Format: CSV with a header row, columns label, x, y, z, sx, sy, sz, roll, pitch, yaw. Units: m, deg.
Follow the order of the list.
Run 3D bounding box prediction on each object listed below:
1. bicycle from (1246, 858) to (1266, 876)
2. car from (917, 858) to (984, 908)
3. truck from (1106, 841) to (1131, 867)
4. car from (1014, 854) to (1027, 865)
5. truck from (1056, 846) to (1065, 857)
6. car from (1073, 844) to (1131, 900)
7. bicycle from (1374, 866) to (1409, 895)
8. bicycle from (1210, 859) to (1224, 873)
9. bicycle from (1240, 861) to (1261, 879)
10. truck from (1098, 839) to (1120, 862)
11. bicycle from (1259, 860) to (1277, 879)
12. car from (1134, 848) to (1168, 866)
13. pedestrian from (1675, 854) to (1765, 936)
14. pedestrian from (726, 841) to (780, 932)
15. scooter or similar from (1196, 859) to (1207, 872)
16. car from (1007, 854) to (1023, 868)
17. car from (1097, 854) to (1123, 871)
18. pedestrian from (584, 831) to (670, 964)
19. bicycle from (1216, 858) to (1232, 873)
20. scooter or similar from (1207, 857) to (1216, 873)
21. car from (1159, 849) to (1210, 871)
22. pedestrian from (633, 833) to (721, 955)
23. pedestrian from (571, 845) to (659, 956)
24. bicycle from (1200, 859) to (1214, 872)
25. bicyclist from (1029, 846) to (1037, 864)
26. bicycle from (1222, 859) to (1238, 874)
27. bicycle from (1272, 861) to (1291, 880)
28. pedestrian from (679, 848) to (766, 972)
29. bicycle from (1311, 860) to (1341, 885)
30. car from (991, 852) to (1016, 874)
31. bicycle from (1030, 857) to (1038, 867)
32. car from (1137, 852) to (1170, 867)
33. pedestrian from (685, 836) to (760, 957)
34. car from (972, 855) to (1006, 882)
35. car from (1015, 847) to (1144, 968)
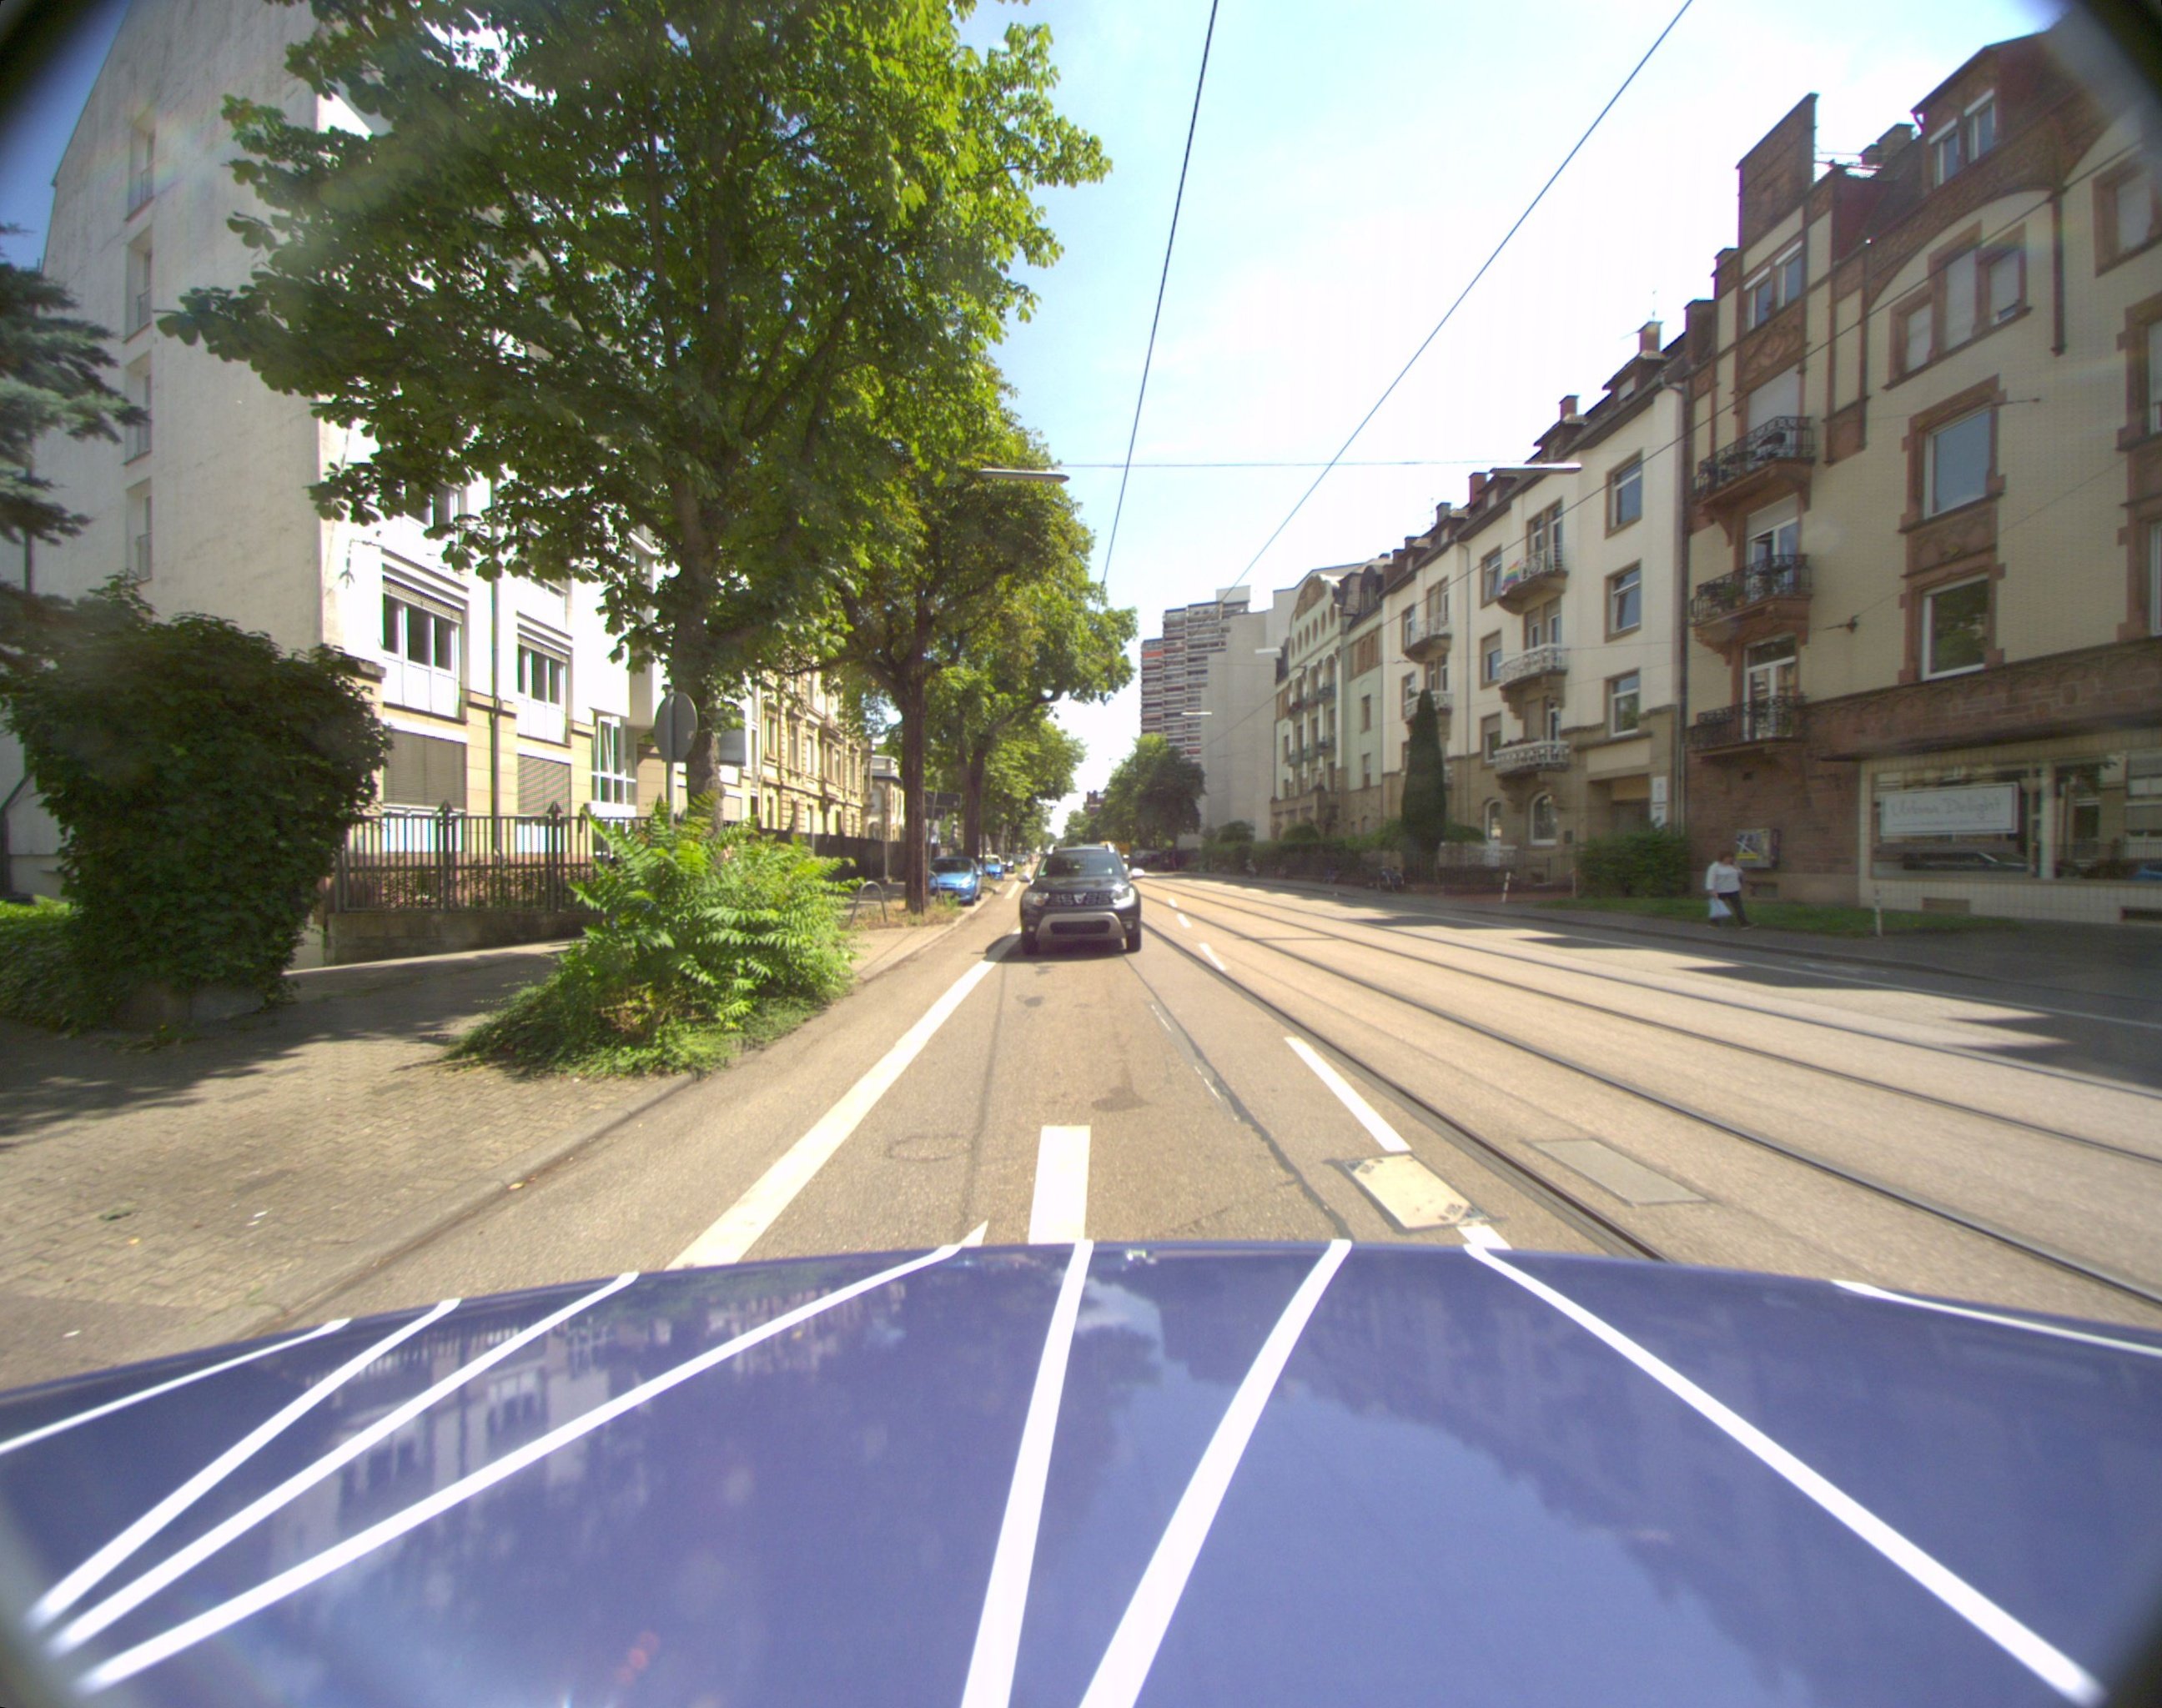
label,x,y,z,sx,sy,sz,roll,pitch,yaw
bicycle,10.618,0.801,46.103,0.609,1.026,1.771,-4,0,-3
car,-4.026,0.845,23.936,1.682,1.435,3.719,0,0,-4
truck,4.332,-0.027,88.804,2.307,2.903,6.514,0,0,-2
car,-8.127,0.768,102.735,1.626,1.395,3.999,2,0,-3
truck,-6.928,-0.852,254.059,2.792,3.598,8.255,0,0,0
car,0.670,0.595,27.343,1.753,1.806,4.307,-2,0,-2
bicycle,11.497,0.982,28.188,0.411,0.955,1.840,-3,1,-3
bicycle,9.927,0.878,55.474,0.609,0.983,1.707,-4,0,-3
bicycle,9.765,0.893,43.828,0.608,0.993,1.778,0,0,33
truck,5.383,-0.687,143.153,2.673,4.155,10.481,0,0,10
bicycle,10.508,0.860,42.776,0.465,0.993,1.707,-3,0,-3
car,8.117,0.335,87.916,4.061,2.030,1.597,0,0,-43
pedestrian,12.383,0.776,14.753,0.903,1.533,0.984,0,0,-6
pedestrian,-6.680,0.638,15.527,0.686,1.787,1.083,0,0,-3
scooter or similar,9.593,0.894,60.525,0.407,1.014,1.222,0,0,-19
car,-7.211,0.729,83.295,1.626,1.395,3.822,2,0,-3
car,2.469,0.742,65.613,1.828,1.405,4.427,0,0,-3
pedestrian,-6.412,0.592,10.781,0.662,1.801,0.976,0,1,-3
bicycle,10.057,0.780,53.429,0.609,0.983,1.707,-4,0,-3
scooter or similar,9.802,0.820,57.068,0.407,1.113,1.290,0,0,-1
car,9.310,0.556,68.318,4.596,1.914,1.956,0,0,-40
pedestrian,-6.015,0.571,11.368,0.790,1.751,1.052,0,0,-3
pedestrian,-7.099,0.682,11.612,0.859,1.636,0.836,0,1,-5
bicycle,9.772,0.885,58.884,0.609,0.983,1.707,-4,0,-3
bicyclist,-5.402,0.151,85.499,0.773,2.002,0.807,0,1,-5
bicycle,10.117,0.816,51.592,0.609,0.970,1.771,-4,0,-3
bicycle,10.779,0.858,40.946,0.414,0.960,1.725,-3,0,-3
pedestrian,-4.963,0.745,10.576,0.768,1.641,0.974,0,0,-2
bicycle,11.079,0.803,34.394,0.609,1.058,1.771,-4,0,-3
car,-6.210,0.705,61.119,1.734,1.606,4.083,2,0,-3
bicycle,-5.316,0.893,85.416,0.812,1.089,2.173,0,0,-5
car,8.076,0.605,84.437,1.677,1.566,3.692,2,1,44
pedestrian,-5.457,0.627,11.617,0.706,1.766,0.947,0,1,-2
car,-5.082,0.785,42.363,1.696,1.444,3.472,0,0,-4
car,-0.102,0.737,12.703,1.753,1.641,4.296,-1,0,-2
